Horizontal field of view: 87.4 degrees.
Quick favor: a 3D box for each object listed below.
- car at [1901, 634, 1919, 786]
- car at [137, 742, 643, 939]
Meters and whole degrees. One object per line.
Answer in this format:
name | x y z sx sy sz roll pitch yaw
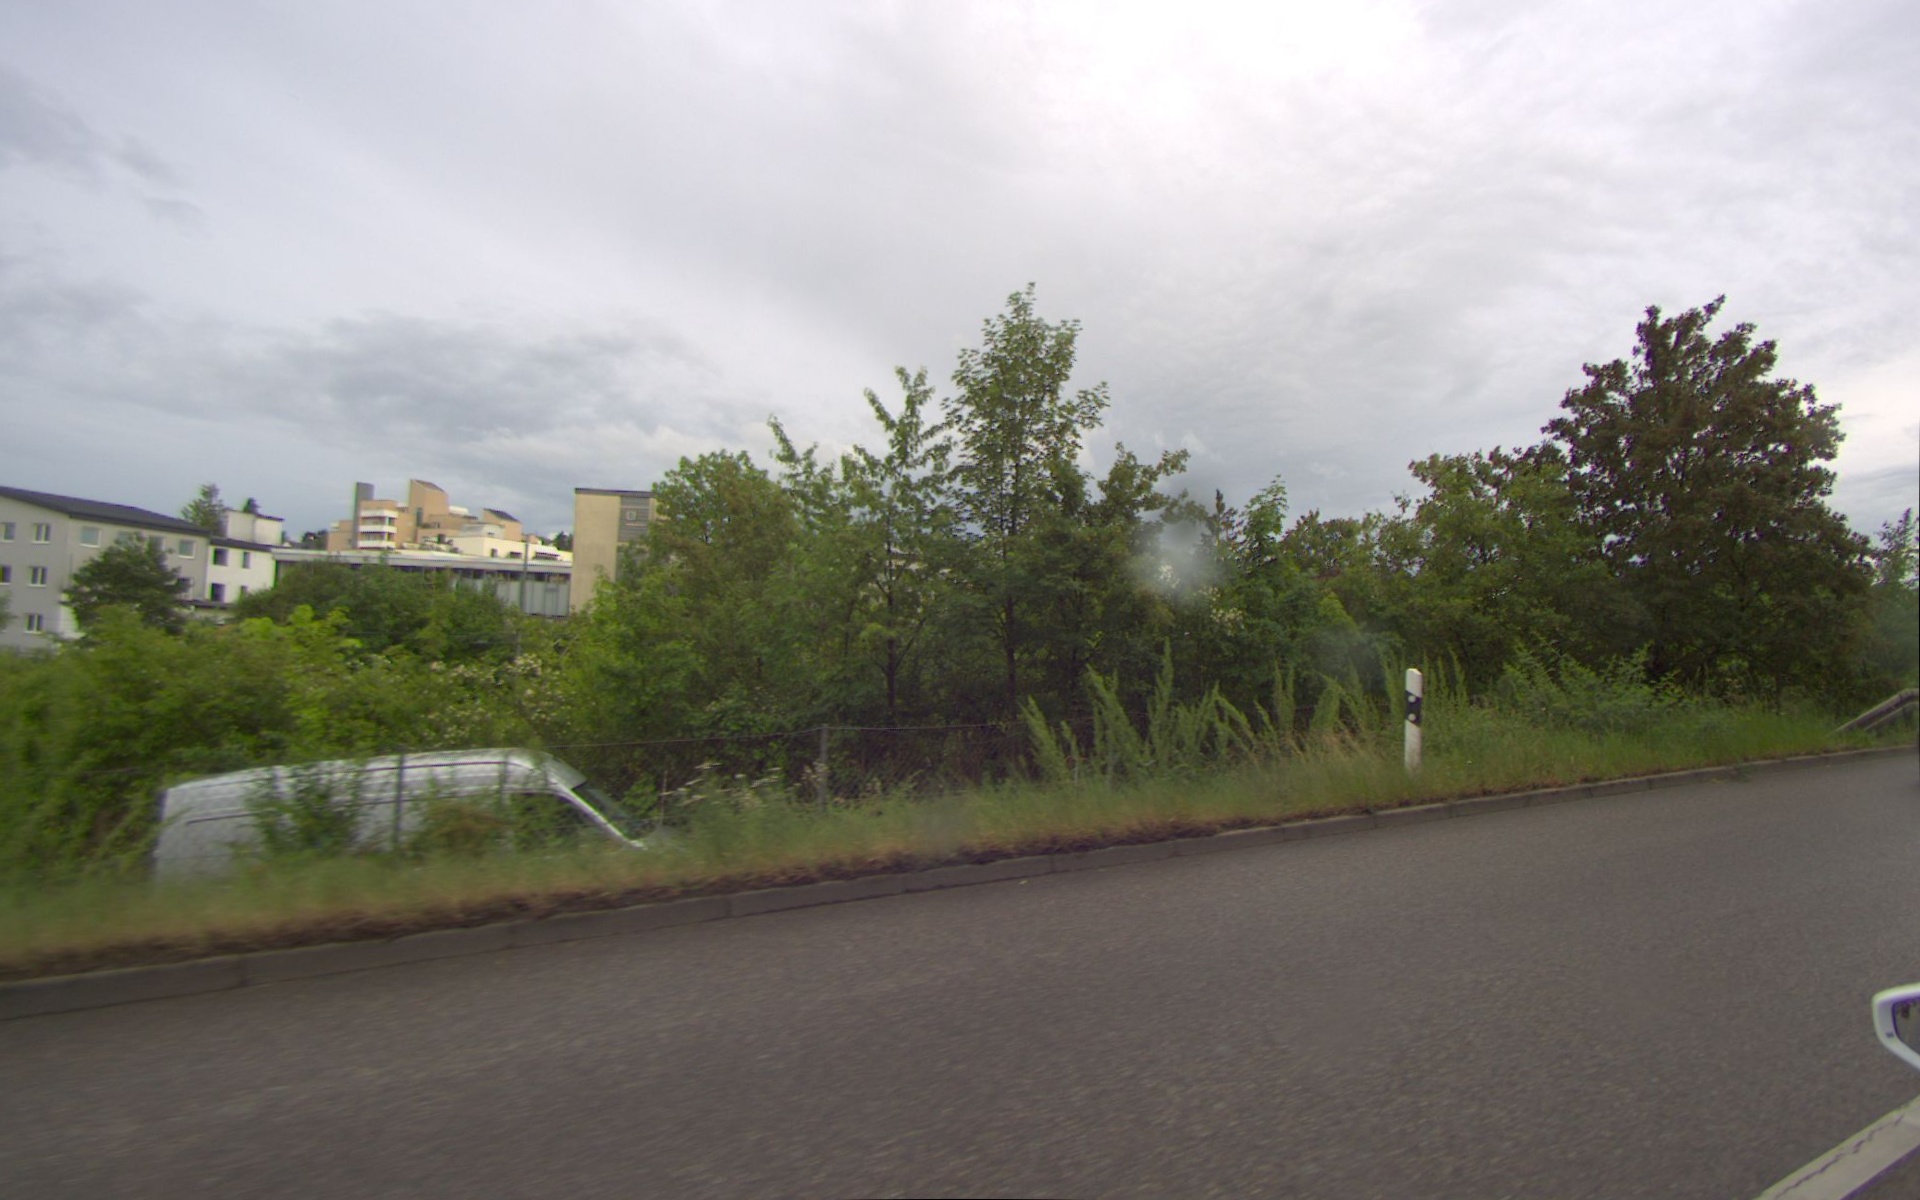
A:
car | 12.017 1.150 10.598 4.673 1.523 1.853 2 -1 -31
car | -6.360 2.700 11.961 4.846 1.712 1.985 -1 -6 -16
